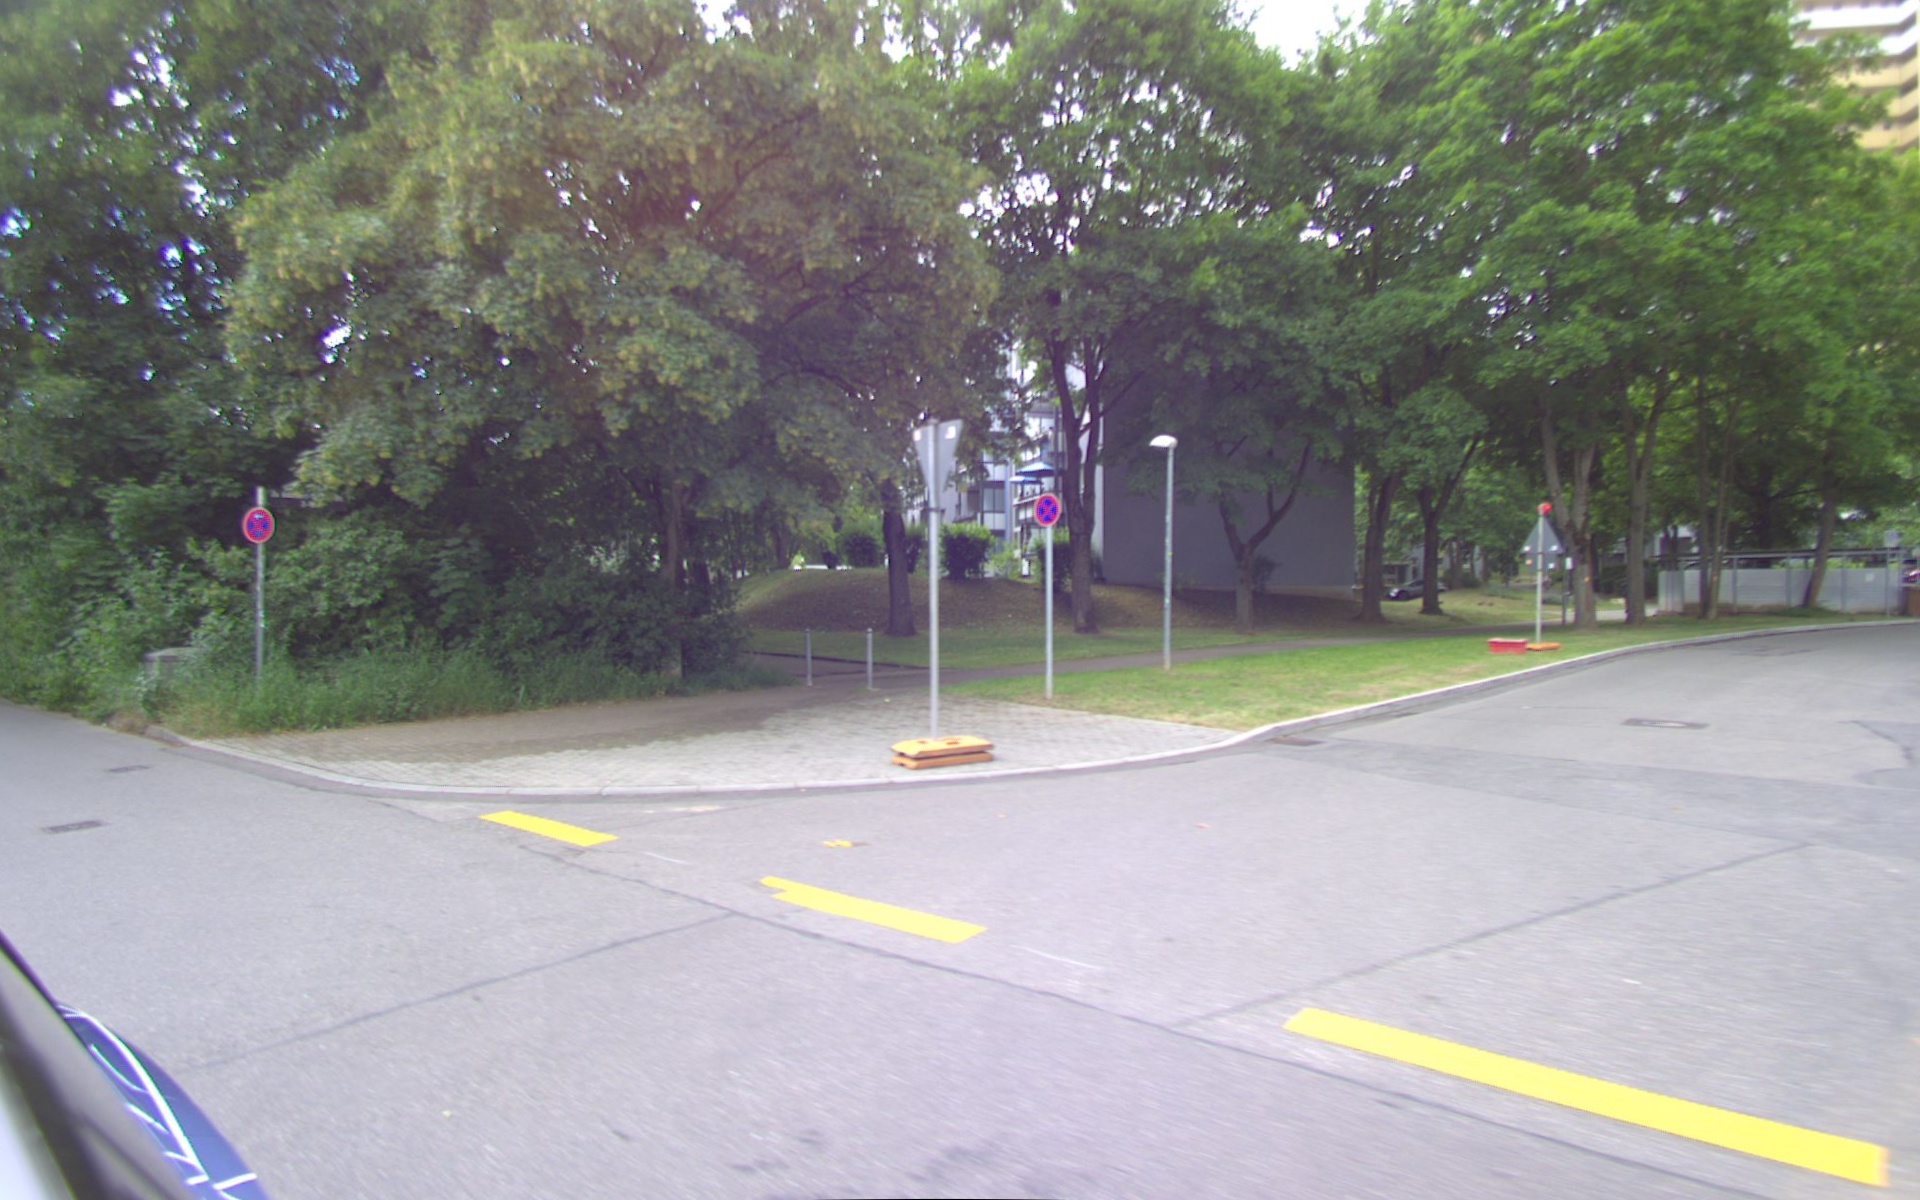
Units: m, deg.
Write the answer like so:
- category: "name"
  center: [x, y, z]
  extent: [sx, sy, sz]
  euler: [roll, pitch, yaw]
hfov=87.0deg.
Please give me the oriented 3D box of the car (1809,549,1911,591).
- category: "car"
  center: [45.436, -1.491, 51.187]
  extent: [3.608, 1.970, 1.483]
  euler: [-1, 0, 31]

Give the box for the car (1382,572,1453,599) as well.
- category: "car"
  center: [32.582, -1.033, 72.174]
  extent: [4.197, 1.780, 2.203]
  euler: [-1, 0, 12]

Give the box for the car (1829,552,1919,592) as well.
- category: "car"
  center: [45.062, -1.356, 49.486]
  extent: [3.608, 1.881, 1.483]
  euler: [-1, 0, 31]
